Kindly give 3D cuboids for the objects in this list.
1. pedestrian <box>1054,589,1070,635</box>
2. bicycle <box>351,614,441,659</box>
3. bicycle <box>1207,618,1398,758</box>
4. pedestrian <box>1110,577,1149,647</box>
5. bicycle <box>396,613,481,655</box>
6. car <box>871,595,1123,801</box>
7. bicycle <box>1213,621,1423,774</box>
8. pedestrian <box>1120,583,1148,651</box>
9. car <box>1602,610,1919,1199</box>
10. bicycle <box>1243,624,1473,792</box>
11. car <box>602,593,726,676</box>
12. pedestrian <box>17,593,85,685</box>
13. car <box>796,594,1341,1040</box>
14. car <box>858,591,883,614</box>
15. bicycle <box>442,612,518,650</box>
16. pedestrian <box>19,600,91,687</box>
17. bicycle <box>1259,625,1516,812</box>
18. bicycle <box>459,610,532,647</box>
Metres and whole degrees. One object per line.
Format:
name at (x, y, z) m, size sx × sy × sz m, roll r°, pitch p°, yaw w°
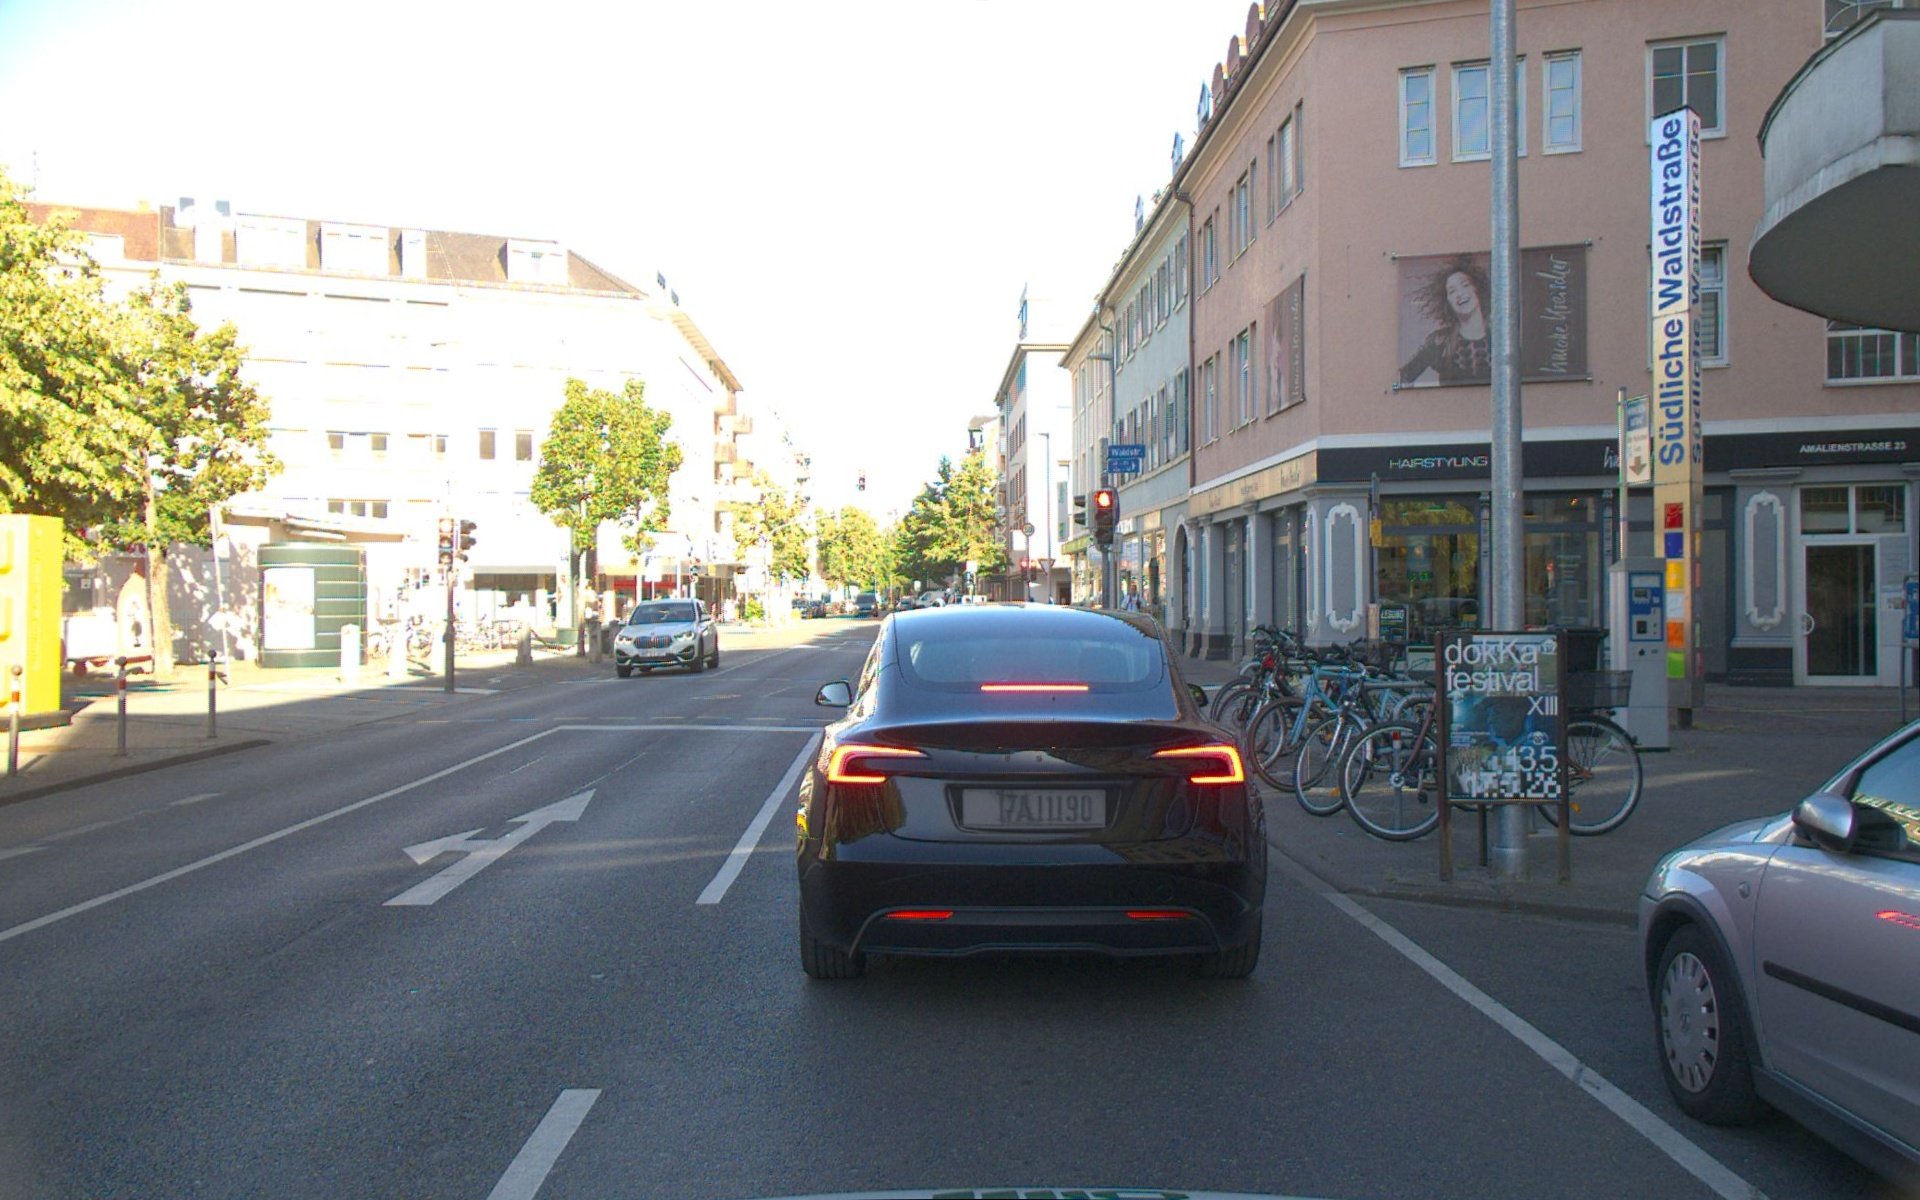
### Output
pedestrian at (3.833, 0.457, 61.981) m, size 0.559 × 1.720 × 0.387 m, roll 0°, pitch 0°, yaw -1°
bicycle at (-14.457, 0.929, 42.441) m, size 2.040 × 1.123 × 0.806 m, roll 0°, pitch 0°, yaw -1°
bicycle at (3.050, 0.777, 14.788) m, size 1.594 × 1.180 × 0.433 m, roll -2°, pitch 0°, yaw 0°
pedestrian at (4.568, 0.325, 44.598) m, size 0.979 × 1.883 × 0.615 m, roll 0°, pitch 0°, yaw -1°
bicycle at (-14.164, 0.917, 44.966) m, size 2.040 × 1.123 × 0.806 m, roll 0°, pitch 0°, yaw -1°
car at (0.267, 0.706, 13.811) m, size 1.812 × 1.480 × 3.786 m, roll 0°, pitch 0°, yaw 0°
bicycle at (2.932, 0.790, 13.595) m, size 1.595 × 1.180 × 0.432 m, roll -2°, pitch 0°, yaw -2°
pedestrian at (4.704, 0.465, 44.629) m, size 0.689 × 1.814 × 0.533 m, roll 0°, pitch 0°, yaw -1°
car at (2.917, 0.749, 3.536) m, size 1.588 × 1.419 × 3.886 m, roll 0°, pitch 0°, yaw 0°
bicycle at (2.980, 0.799, 12.438) m, size 1.595 × 1.180 × 0.432 m, roll -2°, pitch 0°, yaw -2°
car at (-6.358, 0.699, 35.928) m, size 1.953 × 1.567 × 3.999 m, roll -3°, pitch 0°, yaw -1°
pedestrian at (-17.558, 0.737, 31.946) m, size 0.882 × 1.755 × 0.744 m, roll 0°, pitch 0°, yaw 3°
car at (0.363, 0.718, 7.396) m, size 1.812 × 1.480 × 3.786 m, roll 0°, pitch 0°, yaw 0°
car at (-6.868, 0.207, 127.115) m, size 1.793 × 1.754 × 3.998 m, roll 0°, pitch 0°, yaw -2°
bicycle at (-14.433, 0.935, 49.736) m, size 2.040 × 1.123 × 0.806 m, roll 0°, pitch 0°, yaw -1°
pedestrian at (-17.540, 0.838, 32.080) m, size 0.966 × 1.665 × 0.737 m, roll 0°, pitch 0°, yaw 3°
bicycle at (2.887, 0.792, 11.224) m, size 1.595 × 1.180 × 0.432 m, roll -2°, pitch 0°, yaw -2°
bicycle at (-14.576, 0.893, 51.927) m, size 2.040 × 1.123 × 0.806 m, roll 0°, pitch 0°, yaw -1°
